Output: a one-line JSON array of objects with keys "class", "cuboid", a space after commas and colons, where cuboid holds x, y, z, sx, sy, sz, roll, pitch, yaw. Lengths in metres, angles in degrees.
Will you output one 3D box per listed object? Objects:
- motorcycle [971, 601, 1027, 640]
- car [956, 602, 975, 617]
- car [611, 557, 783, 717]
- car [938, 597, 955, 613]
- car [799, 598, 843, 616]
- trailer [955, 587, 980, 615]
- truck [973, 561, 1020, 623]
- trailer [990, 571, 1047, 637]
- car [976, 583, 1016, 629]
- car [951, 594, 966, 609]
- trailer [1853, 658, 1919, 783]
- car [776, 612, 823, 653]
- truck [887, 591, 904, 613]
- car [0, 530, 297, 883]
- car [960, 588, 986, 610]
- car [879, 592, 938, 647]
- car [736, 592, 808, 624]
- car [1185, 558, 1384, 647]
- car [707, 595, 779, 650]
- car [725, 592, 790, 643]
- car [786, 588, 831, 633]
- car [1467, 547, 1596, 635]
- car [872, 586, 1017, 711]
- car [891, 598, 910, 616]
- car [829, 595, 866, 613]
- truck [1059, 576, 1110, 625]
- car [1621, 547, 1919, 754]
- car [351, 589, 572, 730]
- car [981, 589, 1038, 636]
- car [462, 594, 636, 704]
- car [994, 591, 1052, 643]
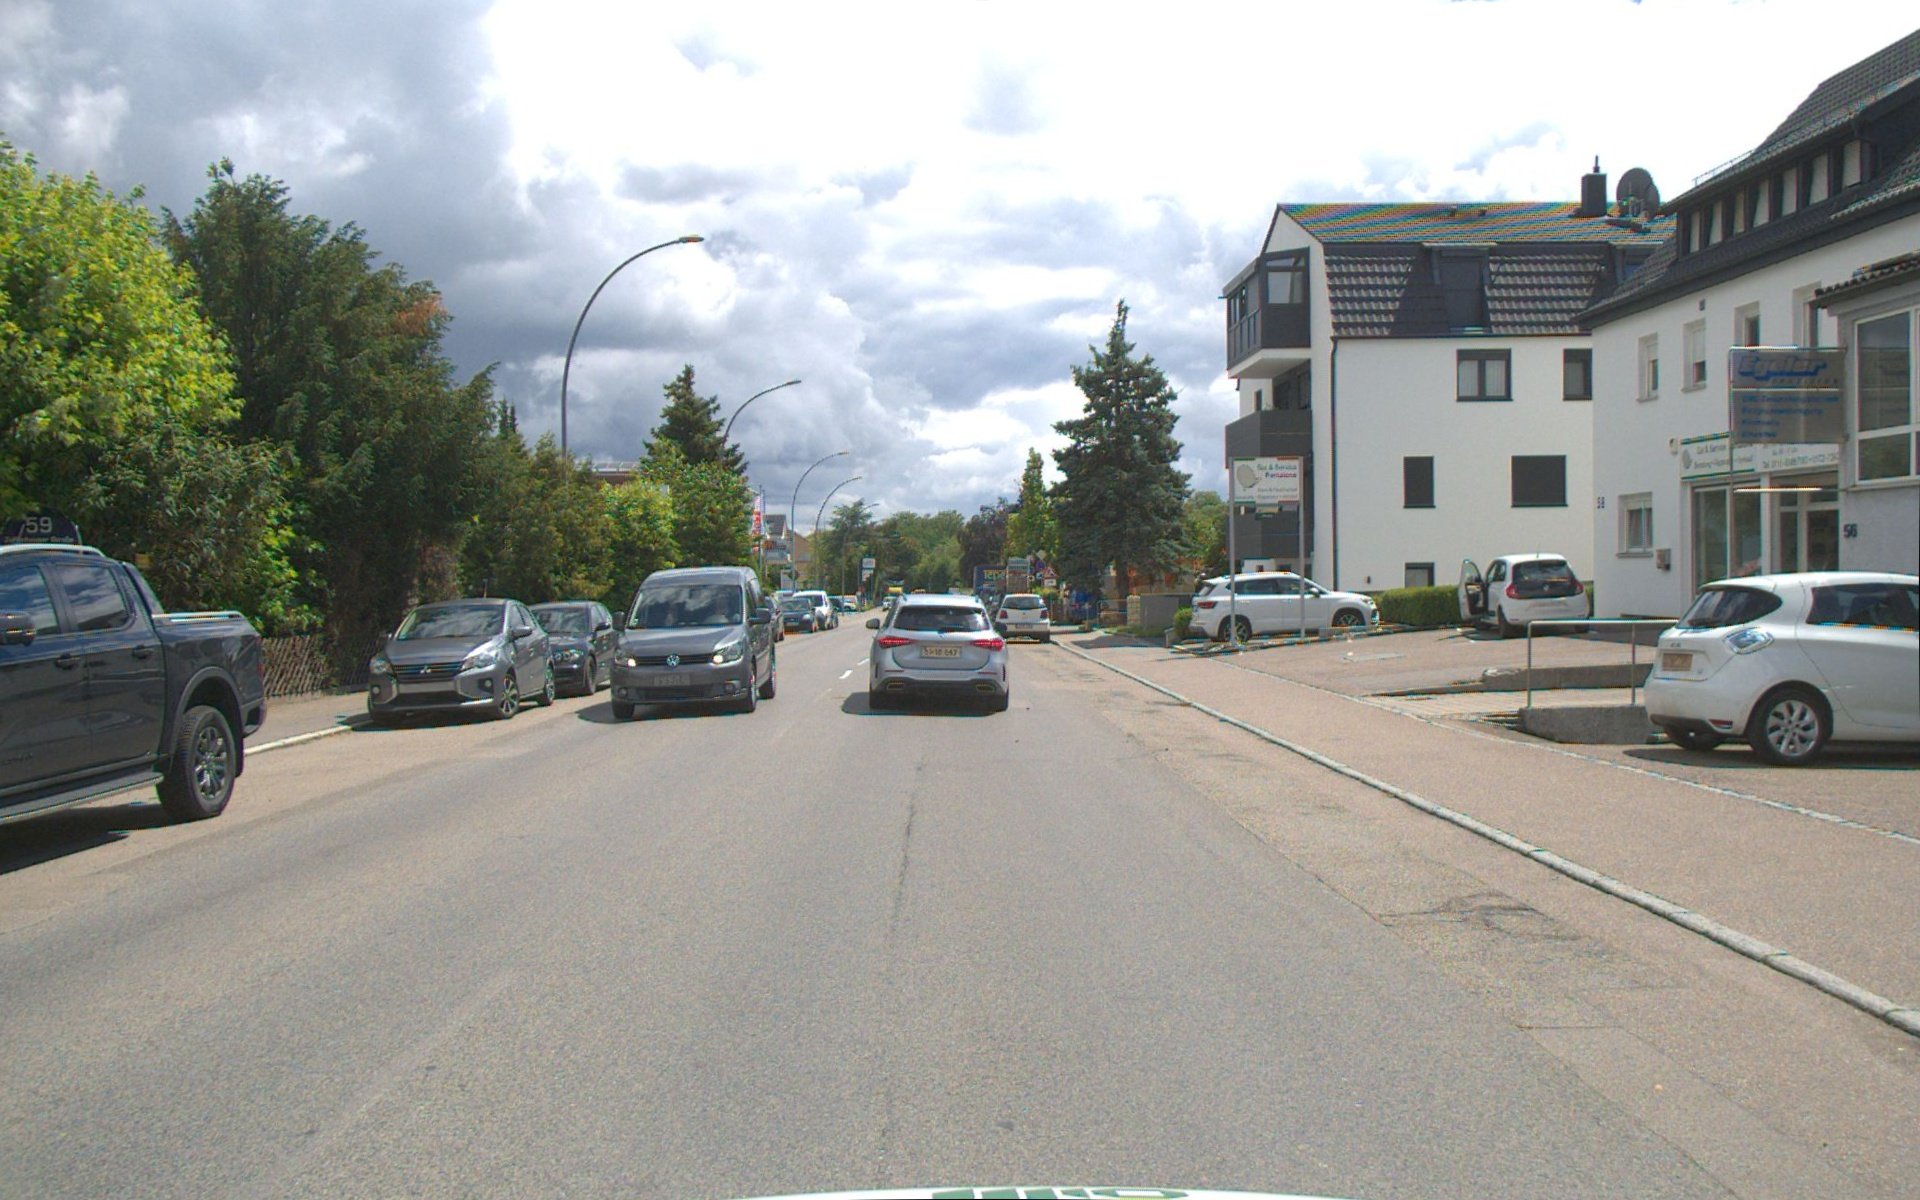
[{"class": "motorcycle", "cuboid": [1.312, 0.662, 54.903, 1.803, 1.231, 0.708, -1, 0, -36]}, {"class": "car", "cuboid": [0.601, 1.016, 175.599, 1.756, 1.475, 4.361, -2, 0, -3]}, {"class": "car", "cuboid": [-3.324, 0.420, 21.612, 1.629, 1.827, 4.337, -2, 0, -2]}, {"class": "car", "cuboid": [-1.396, 0.479, 170.385, 1.720, 1.585, 3.999, -1, 0, -1]}, {"class": "car", "cuboid": [-14.787, 0.745, 175.975, 4.536, 1.661, 2.196, -4, 0, -4]}, {"class": "trailer", "cuboid": [0.609, 0.089, 139.417, 1.902, 2.334, 4.444, -1, 0, -2]}, {"class": "truck", "cuboid": [1.881, -0.411, 87.873, 2.273, 3.151, 6.042, 1, 0, 0]}, {"class": "trailer", "cuboid": [2.006, 0.136, 57.635, 1.737, 2.182, 4.113, -1, 0, -1]}, {"class": "car", "cuboid": [1.750, 0.288, 82.410, 1.835, 2.207, 4.464, 1, 0, 0]}, {"class": "car", "cuboid": [-0.255, 0.201, 234.165, 2.100, 2.019, 5.260, -1, 0, 0]}, {"class": "trailer", "cuboid": [8.523, 0.811, 11.517, 3.740, 0.822, 1.656, -1, 0, -2]}, {"class": "car", "cuboid": [-6.756, 1.334, 69.813, 1.607, 1.512, 3.998, -4, 0, -2]}, {"class": "truck", "cuboid": [-9.040, 0.268, 232.414, 2.032, 2.863, 7.078, -2, 0, 1]}, {"class": "car", "cuboid": [-6.025, 0.614, 9.906, 1.872, 1.852, 5.428, -4, 0, -1]}, {"class": "car", "cuboid": [1.033, -0.090, 128.274, 1.901, 1.599, 4.446, -1, 0, 1]}, {"class": "car", "cuboid": [-1.576, 0.571, 50.151, 1.720, 1.585, 3.998, -1, 0, -2]}, {"class": "car", "cuboid": [-12.310, 0.492, 108.458, 4.560, 2.006, 2.114, -1, 0, -4]}, {"class": "car", "cuboid": [7.410, 0.058, 38.034, 4.108, 1.682, 1.866, -4, 0, -1]}, {"class": "car", "cuboid": [-6.371, 0.629, 48.861, 1.685, 1.457, 4.197, -2, 0, -2]}, {"class": "car", "cuboid": [-6.556, 0.531, 53.985, 1.685, 1.519, 4.733, -2, 0, -2]}, {"class": "car", "cuboid": [-6.886, 0.473, 75.486, 1.709, 1.870, 4.354, -4, 0, -2]}, {"class": "car", "cuboid": [11.361, -0.218, 33.074, 1.597, 1.545, 3.667, -4, 1, 7]}, {"class": "car", "cuboid": [-0.275, 0.584, 22.307, 1.749, 1.510, 4.314, 0, 0, -2]}, {"class": "car", "cuboid": [-5.484, 0.644, 152.964, 1.708, 1.656, 4.355, 0, 0, -1]}, {"class": "car", "cuboid": [-13.101, 0.444, 193.060, 4.193, 1.868, 1.990, -1, -3, -2]}, {"class": "truck", "cuboid": [6.048, -0.008, 80.772, 1.792, 2.118, 5.384, -4, 2, -2]}, {"class": "car", "cuboid": [7.945, 0.419, 14.207, 3.821, 1.636, 1.748, 1, 0, -2]}, {"class": "car", "cuboid": [-6.291, 0.683, 21.326, 1.629, 1.537, 3.944, -4, 0, -1]}, {"class": "car", "cuboid": [1.892, 0.463, 64.663, 1.836, 1.757, 4.711, -1, 0, -2]}, {"class": "car", "cuboid": [-6.301, 0.694, 25.815, 1.629, 1.460, 4.337, -3, 0, -1]}, {"class": "car", "cuboid": [1.943, 0.504, 51.513, 1.684, 1.457, 3.984, -2, 0, 1]}]
